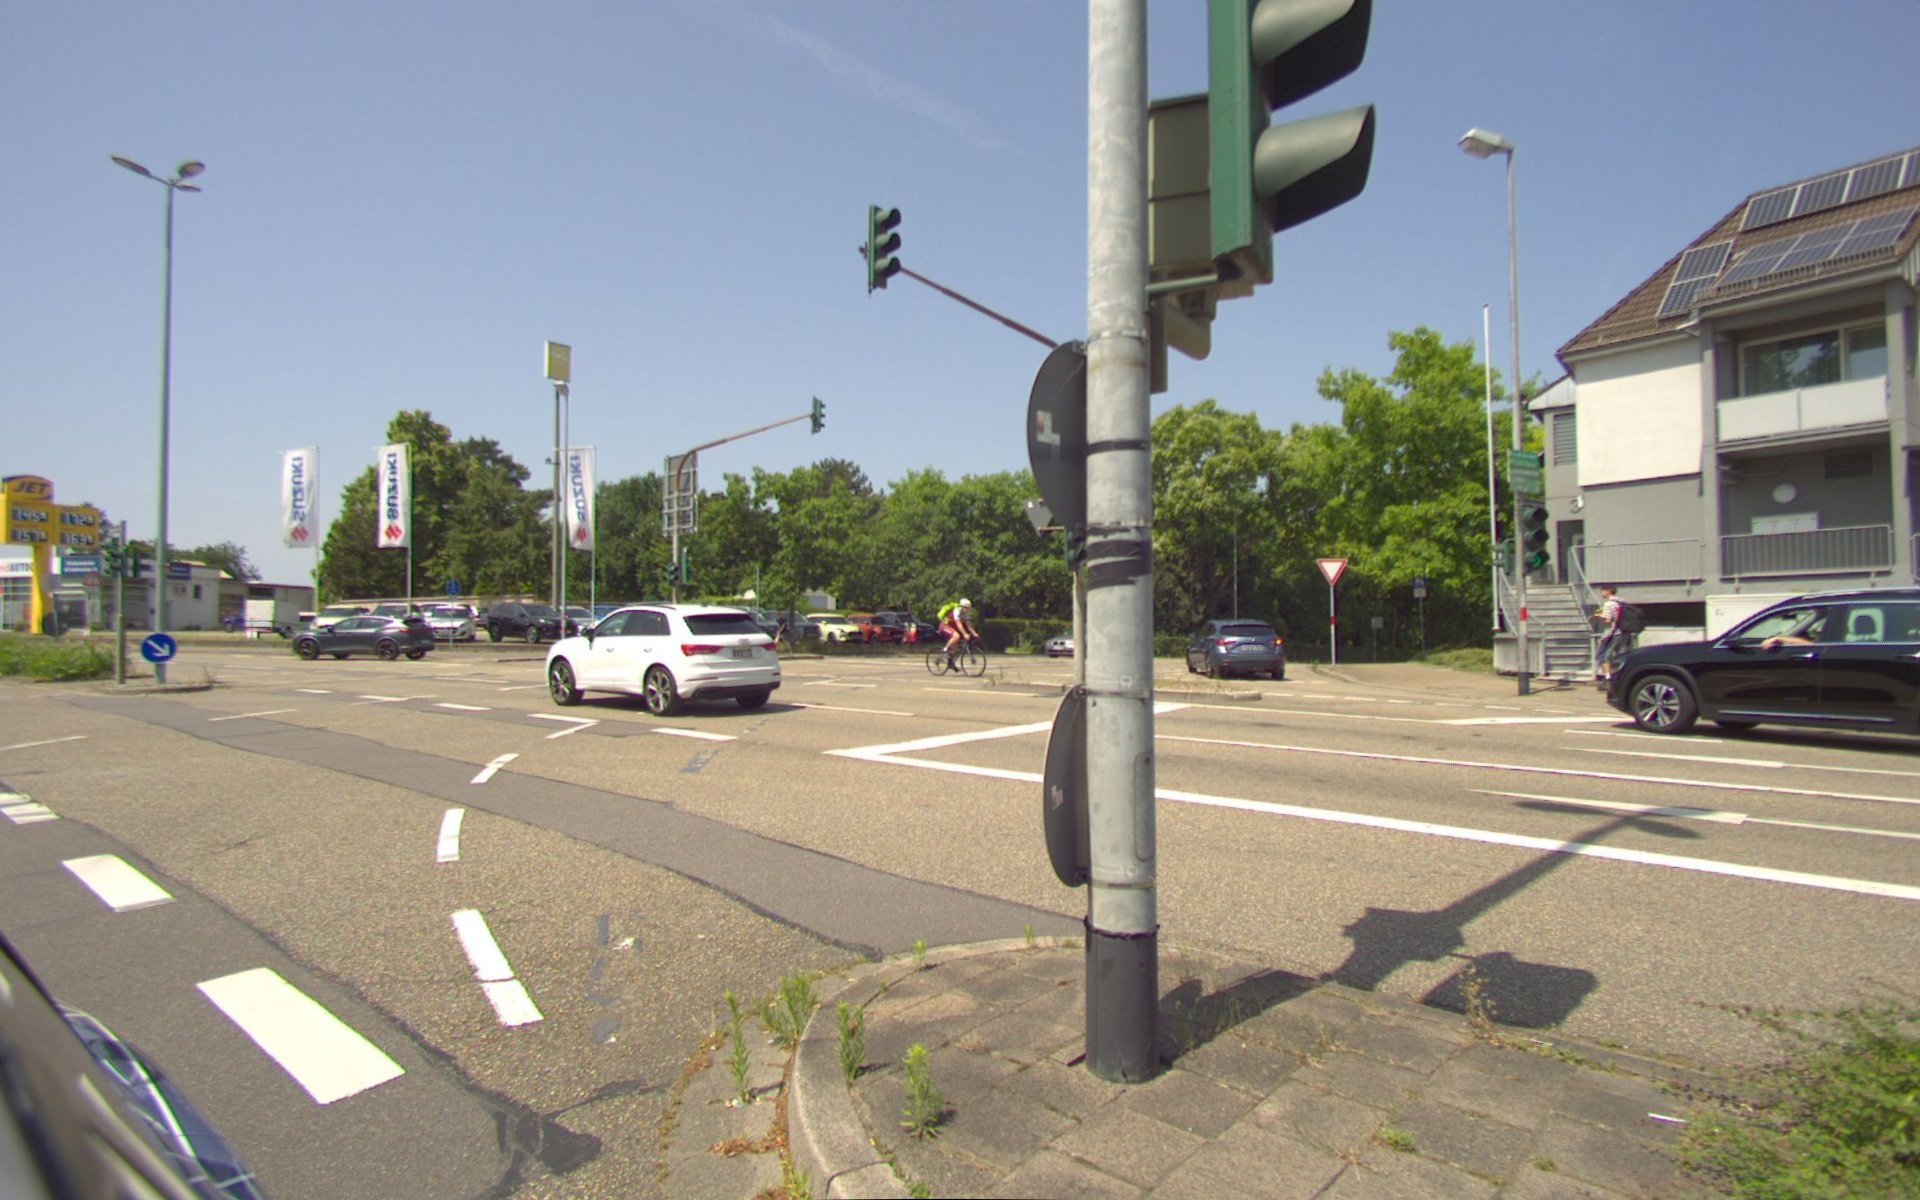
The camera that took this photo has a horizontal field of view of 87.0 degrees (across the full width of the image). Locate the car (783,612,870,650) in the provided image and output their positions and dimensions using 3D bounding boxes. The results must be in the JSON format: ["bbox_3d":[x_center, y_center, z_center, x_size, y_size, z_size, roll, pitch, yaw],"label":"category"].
[{"bbox_3d":[-6.471,1.469,48.954,3.991,1.720,1.884,0,0,36],"label":"car"}]

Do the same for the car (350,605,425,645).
[{"bbox_3d":[-24.121,1.021,42.768,1.886,1.552,3.974,0,0,-16],"label":"car"}]

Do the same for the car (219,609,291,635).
[{"bbox_3d":[-41.744,1.289,59.938,3.599,1.517,1.685,-1,-1,17],"label":"car"}]

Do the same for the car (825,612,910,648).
[{"bbox_3d":[-4.642,1.459,50.507,3.992,1.696,1.846,0,0,36],"label":"car"}]

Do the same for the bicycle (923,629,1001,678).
[{"bbox_3d":[0.037,1.209,22.822,1.783,1.062,0.417,-2,-1,31],"label":"bicycle"}]

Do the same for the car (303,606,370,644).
[{"bbox_3d":[-26.654,1.023,43.376,1.727,1.521,3.832,0,0,-20],"label":"car"}]

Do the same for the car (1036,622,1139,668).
[{"bbox_3d":[5.260,1.787,41.213,1.762,1.622,4.695,0,0,43],"label":"car"}]

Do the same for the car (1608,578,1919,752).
[{"bbox_3d":[9.821,0.641,10.706,1.965,1.669,4.608,0,-1,-27],"label":"car"}]

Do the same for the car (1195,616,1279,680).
[{"bbox_3d":[6.864,1.177,25.403,1.478,1.460,4.260,0,-2,8],"label":"car"}]

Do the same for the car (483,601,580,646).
[{"bbox_3d":[-17.831,0.957,42.058,4.004,1.737,1.825,1,0,34],"label":"car"}]

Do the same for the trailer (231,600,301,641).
[{"bbox_3d":[-30.470,0.875,44.496,1.667,1.717,2.439,0,0,-8],"label":"trailer"}]

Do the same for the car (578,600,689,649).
[{"bbox_3d":[-13.546,1.017,42.026,4.235,1.916,1.835,2,-1,-19],"label":"car"}]

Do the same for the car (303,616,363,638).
[{"bbox_3d":[-43.890,1.874,70.816,3.599,1.517,1.611,-1,-1,17],"label":"car"}]

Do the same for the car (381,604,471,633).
[{"bbox_3d":[-31.001,1.098,58.786,4.712,1.662,1.686,0,-1,15],"label":"car"}]

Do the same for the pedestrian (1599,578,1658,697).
[{"bbox_3d":[11.596,0.647,17.561,0.741,2.029,0.498,-3,-2,37],"label":"pedestrian"}]

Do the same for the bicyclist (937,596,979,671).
[{"bbox_3d":[-0.043,0.747,22.864,0.817,1.655,0.418,-1,-1,31],"label":"bicyclist"}]

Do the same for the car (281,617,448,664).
[{"bbox_3d":[-19.851,1.354,33.876,4.377,1.497,2.004,0,-2,-1],"label":"car"}]

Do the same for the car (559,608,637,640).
[{"bbox_3d":[-18.402,1.177,51.374,3.992,1.548,1.774,0,0,36],"label":"car"}]

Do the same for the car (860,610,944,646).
[{"bbox_3d":[-3.009,1.427,52.450,3.991,1.763,1.976,0,0,36],"label":"car"}]

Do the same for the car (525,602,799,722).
[{"bbox_3d":[-4.711,0.857,15.669,4.550,1.582,1.799,-1,0,39],"label":"car"}]

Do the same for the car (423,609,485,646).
[{"bbox_3d":[-21.105,1.128,42.352,1.687,1.443,3.974,1,0,-17],"label":"car"}]
